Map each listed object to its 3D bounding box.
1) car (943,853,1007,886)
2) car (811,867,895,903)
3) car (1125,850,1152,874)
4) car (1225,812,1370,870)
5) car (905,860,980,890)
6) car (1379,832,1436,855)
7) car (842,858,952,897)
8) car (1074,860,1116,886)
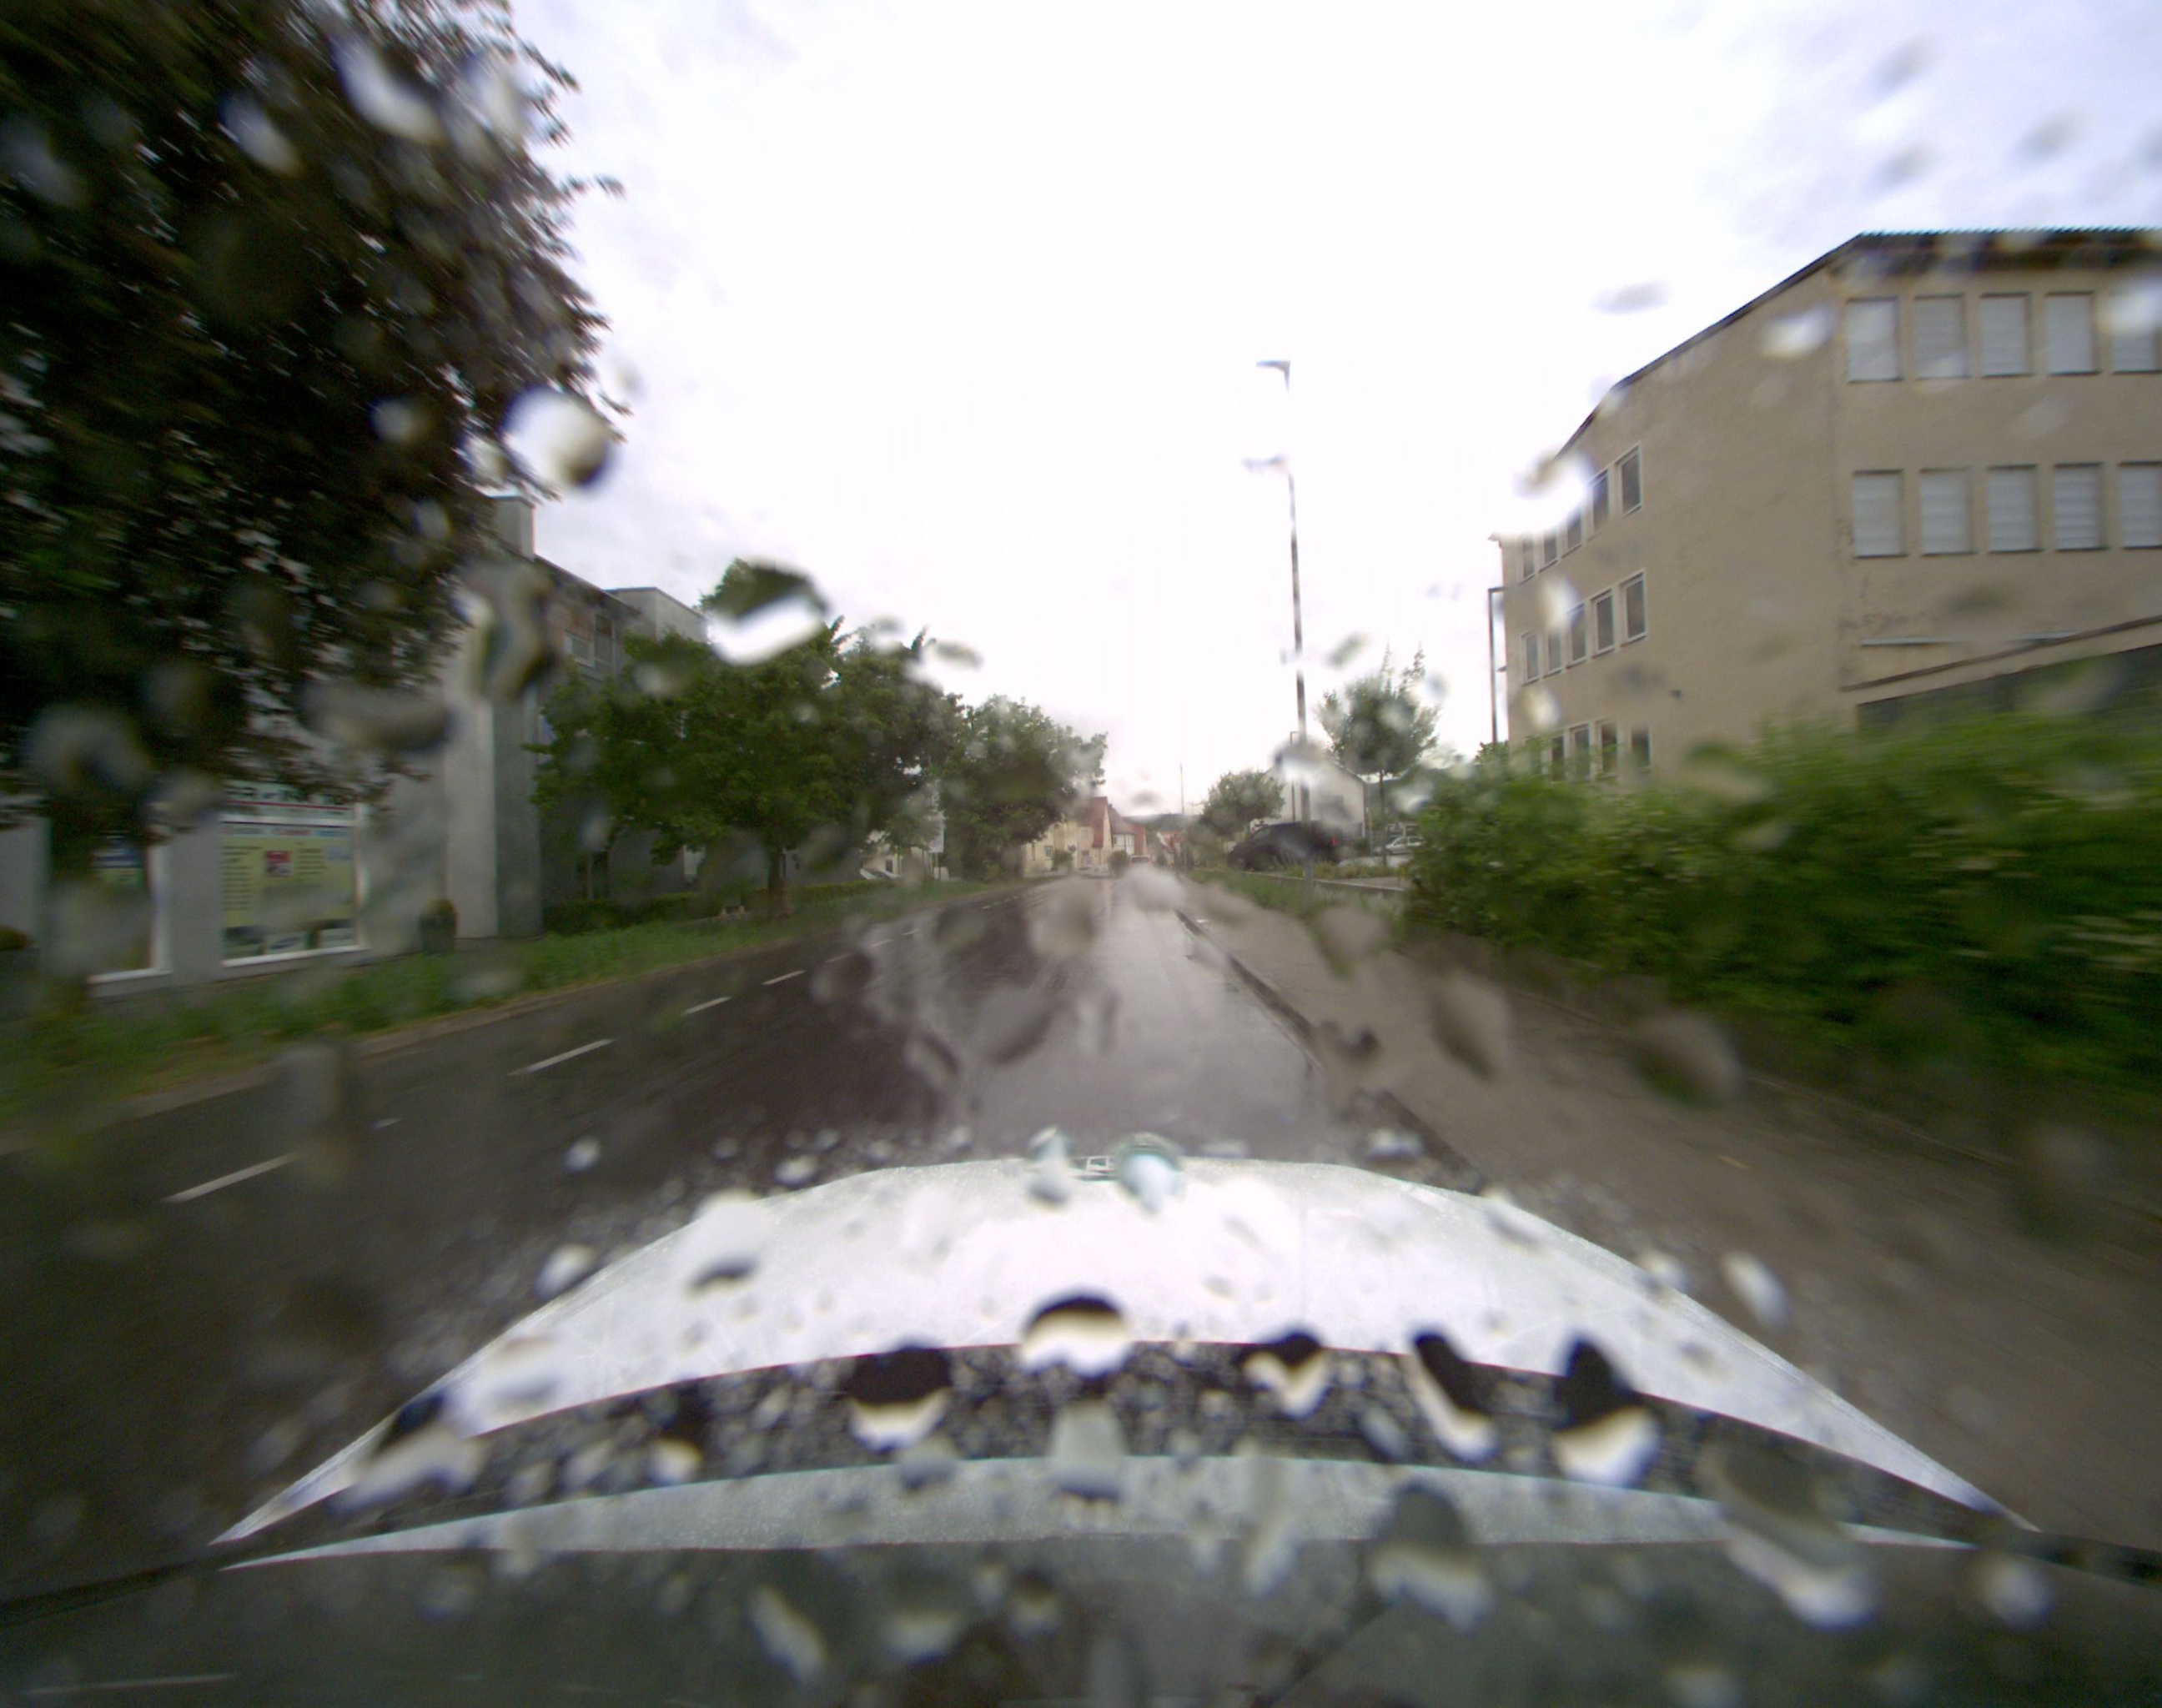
[{"bbox_3d":[-5.238,0.773,40.341,2.896,1.455,1.254,-3,-3,2],"label":"car"},{"bbox_3d":[-13.585,1.830,48.681,4.382,2.013,2.154,-1,1,0],"label":"car"},{"bbox_3d":[4.850,0.644,68.576,2.107,1.888,4.508,-1,1,4],"label":"car"},{"bbox_3d":[8.555,-0.468,32.444,5.049,1.919,2.067,-5,-2,40],"label":"car"},{"bbox_3d":[-6.031,0.912,35.652,2.896,1.159,1.472,-3,-1,3],"label":"car"},{"bbox_3d":[24.853,-0.793,62.085,3.747,1.455,1.612,-3,-1,7],"label":"car"},{"bbox_3d":[-7.253,0.920,32.321,3.884,1.284,1.583,-3,-1,2],"label":"car"},{"bbox_3d":[1.722,2.314,98.535,4.529,2.012,2.166,-14,-1,9],"label":"car"}]
